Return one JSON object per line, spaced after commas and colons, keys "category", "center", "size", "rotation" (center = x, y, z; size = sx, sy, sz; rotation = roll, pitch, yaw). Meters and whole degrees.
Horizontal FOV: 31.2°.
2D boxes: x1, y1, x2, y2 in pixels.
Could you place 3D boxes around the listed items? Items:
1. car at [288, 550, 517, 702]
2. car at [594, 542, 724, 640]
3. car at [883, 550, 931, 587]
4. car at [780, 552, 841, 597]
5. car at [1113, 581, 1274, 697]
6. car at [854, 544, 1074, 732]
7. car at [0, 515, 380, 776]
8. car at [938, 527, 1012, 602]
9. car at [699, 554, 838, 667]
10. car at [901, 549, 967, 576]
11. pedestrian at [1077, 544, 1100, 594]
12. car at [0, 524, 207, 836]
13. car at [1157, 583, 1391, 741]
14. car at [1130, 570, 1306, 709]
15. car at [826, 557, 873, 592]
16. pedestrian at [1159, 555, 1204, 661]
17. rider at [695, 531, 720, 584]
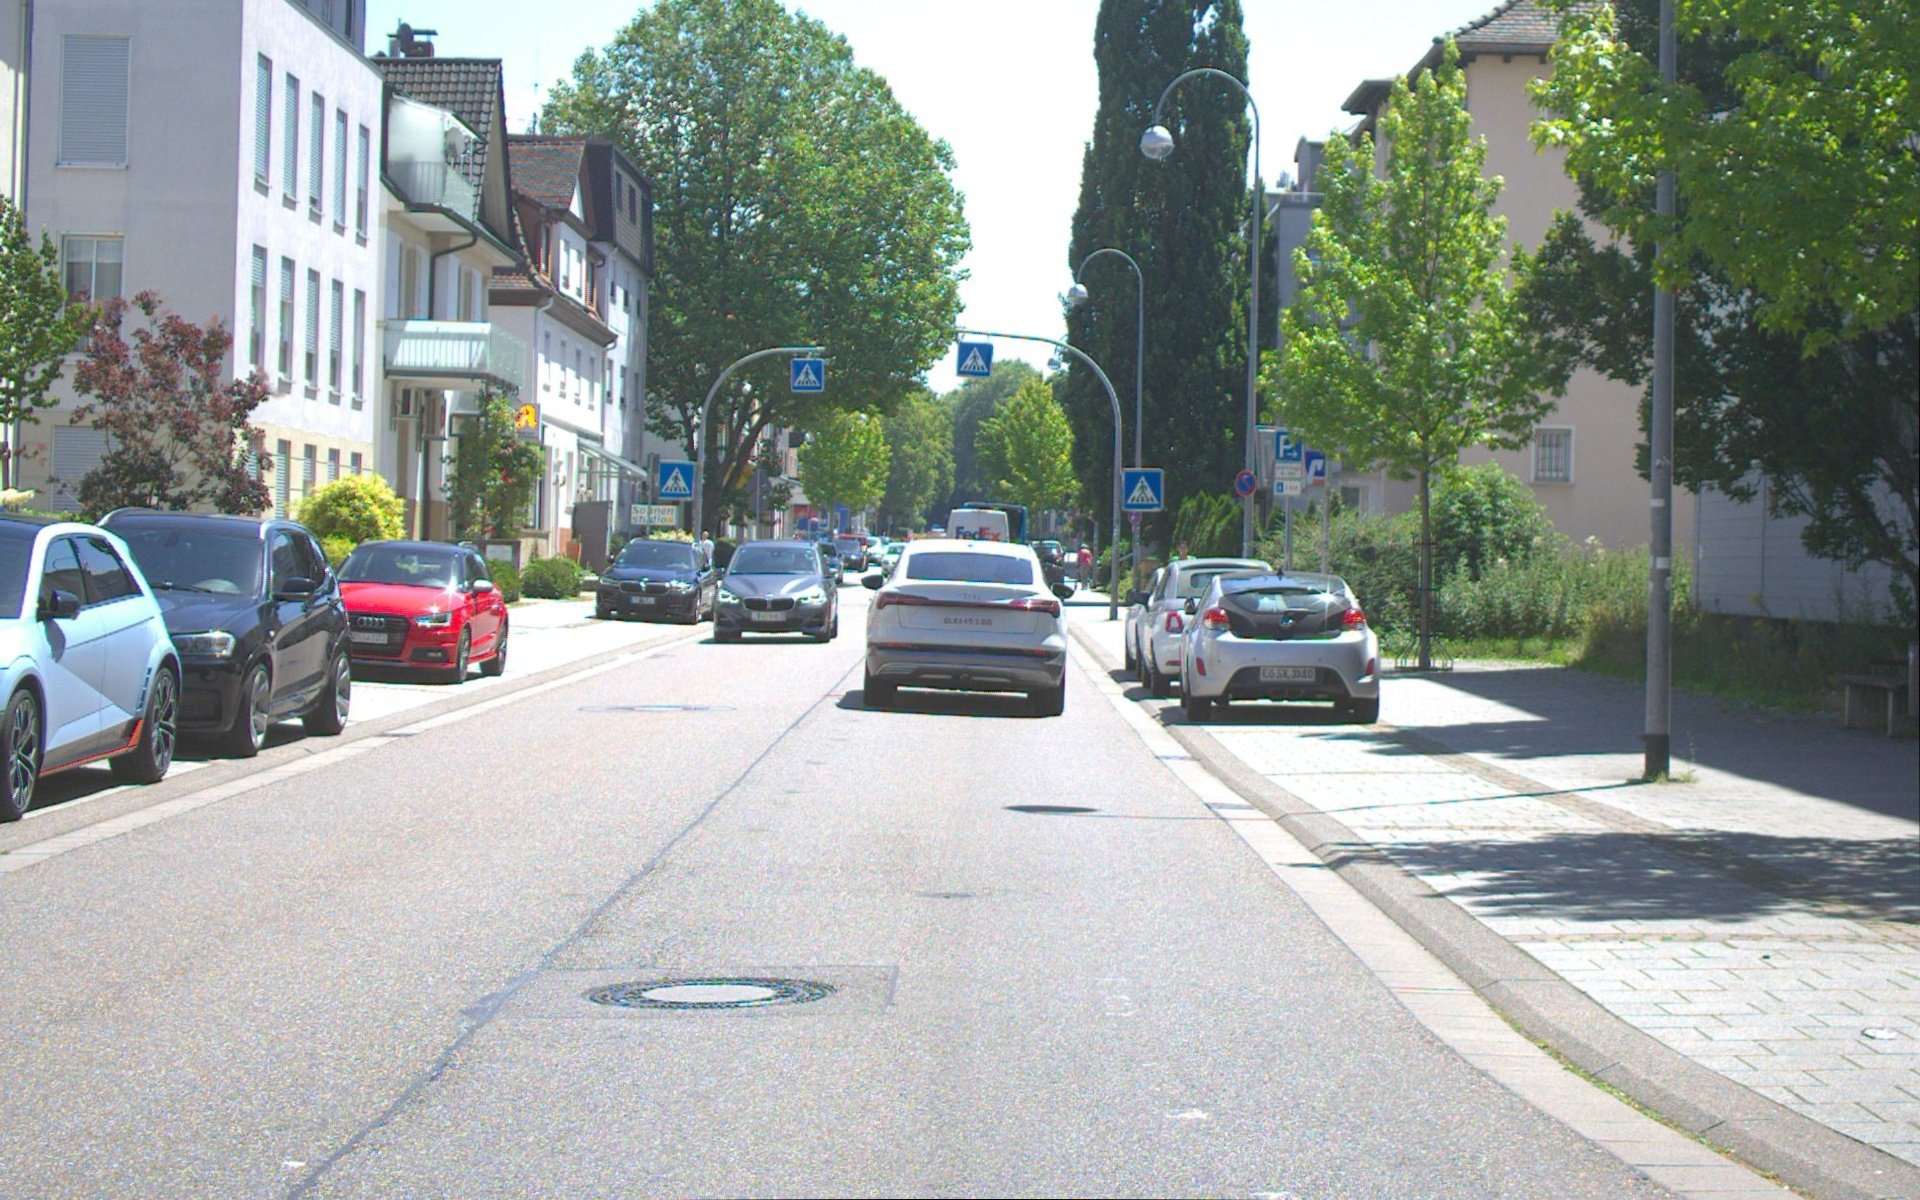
{"category": "car", "center": [-5.867, 0.241, 36.571], "size": [1.649, 1.414, 3.905], "rotation": [4, 1, 1]}
{"category": "car", "center": [-5.545, -0.187, 63.775], "size": [1.926, 1.714, 4.472], "rotation": [1, 1, 1]}
{"category": "car", "center": [-2.225, -1.338, 145.294], "size": [1.978, 1.515, 4.000], "rotation": [1, 1, -1]}
{"category": "car", "center": [-5.259, -0.896, 121.477], "size": [1.993, 1.515, 4.000], "rotation": [1, 1, -1]}
{"category": "car", "center": [2.931, 0.461, 43.917], "size": [1.726, 1.378, 4.402], "rotation": [0, 1, 0]}
{"category": "car", "center": [0.067, 0.329, 34.142], "size": [1.936, 1.609, 4.472], "rotation": [4, 1, 1]}
{"category": "car", "center": [-5.586, 0.281, 25.203], "size": [1.725, 1.614, 4.571], "rotation": [4, 1, 1]}
{"category": "car", "center": [0.420, -1.075, 103.269], "size": [2.070, 2.189, 5.138], "rotation": [0, 1, -1]}
{"category": "car", "center": [-2.983, 0.135, 54.286], "size": [1.974, 1.665, 4.472], "rotation": [1, 1, -1]}
{"category": "car", "center": [-1.665, -2.423, 221.961], "size": [3.988, 1.645, 1.999], "rotation": [1, 1, 8]}
{"category": "pedestrian", "center": [4.420, -1.067, 118.411], "size": [0.693, 1.730, 0.668], "rotation": [1, 0, -4]}
{"category": "car", "center": [-5.814, 0.347, 19.440], "size": [1.926, 1.567, 4.659], "rotation": [4, 1, 1]}
{"category": "car", "center": [2.974, 0.552, 33.345], "size": [1.862, 1.368, 4.000], "rotation": [1, 1, 0]}
{"category": "car", "center": [2.885, 0.403, 39.163], "size": [1.658, 1.483, 4.346], "rotation": [0, 1, 0]}
{"category": "car", "center": [-4.988, -1.154, 156.049], "size": [1.993, 1.515, 4.000], "rotation": [1, 1, -1]}
{"category": "pedestrian", "center": [3.692, 0.132, 57.251], "size": [0.637, 1.752, 0.617], "rotation": [1, 0, -4]}
{"category": "rider", "center": [-7.393, -1.239, 100.720], "size": [0.661, 1.548, 0.661], "rotation": [1, 0, 0]}
